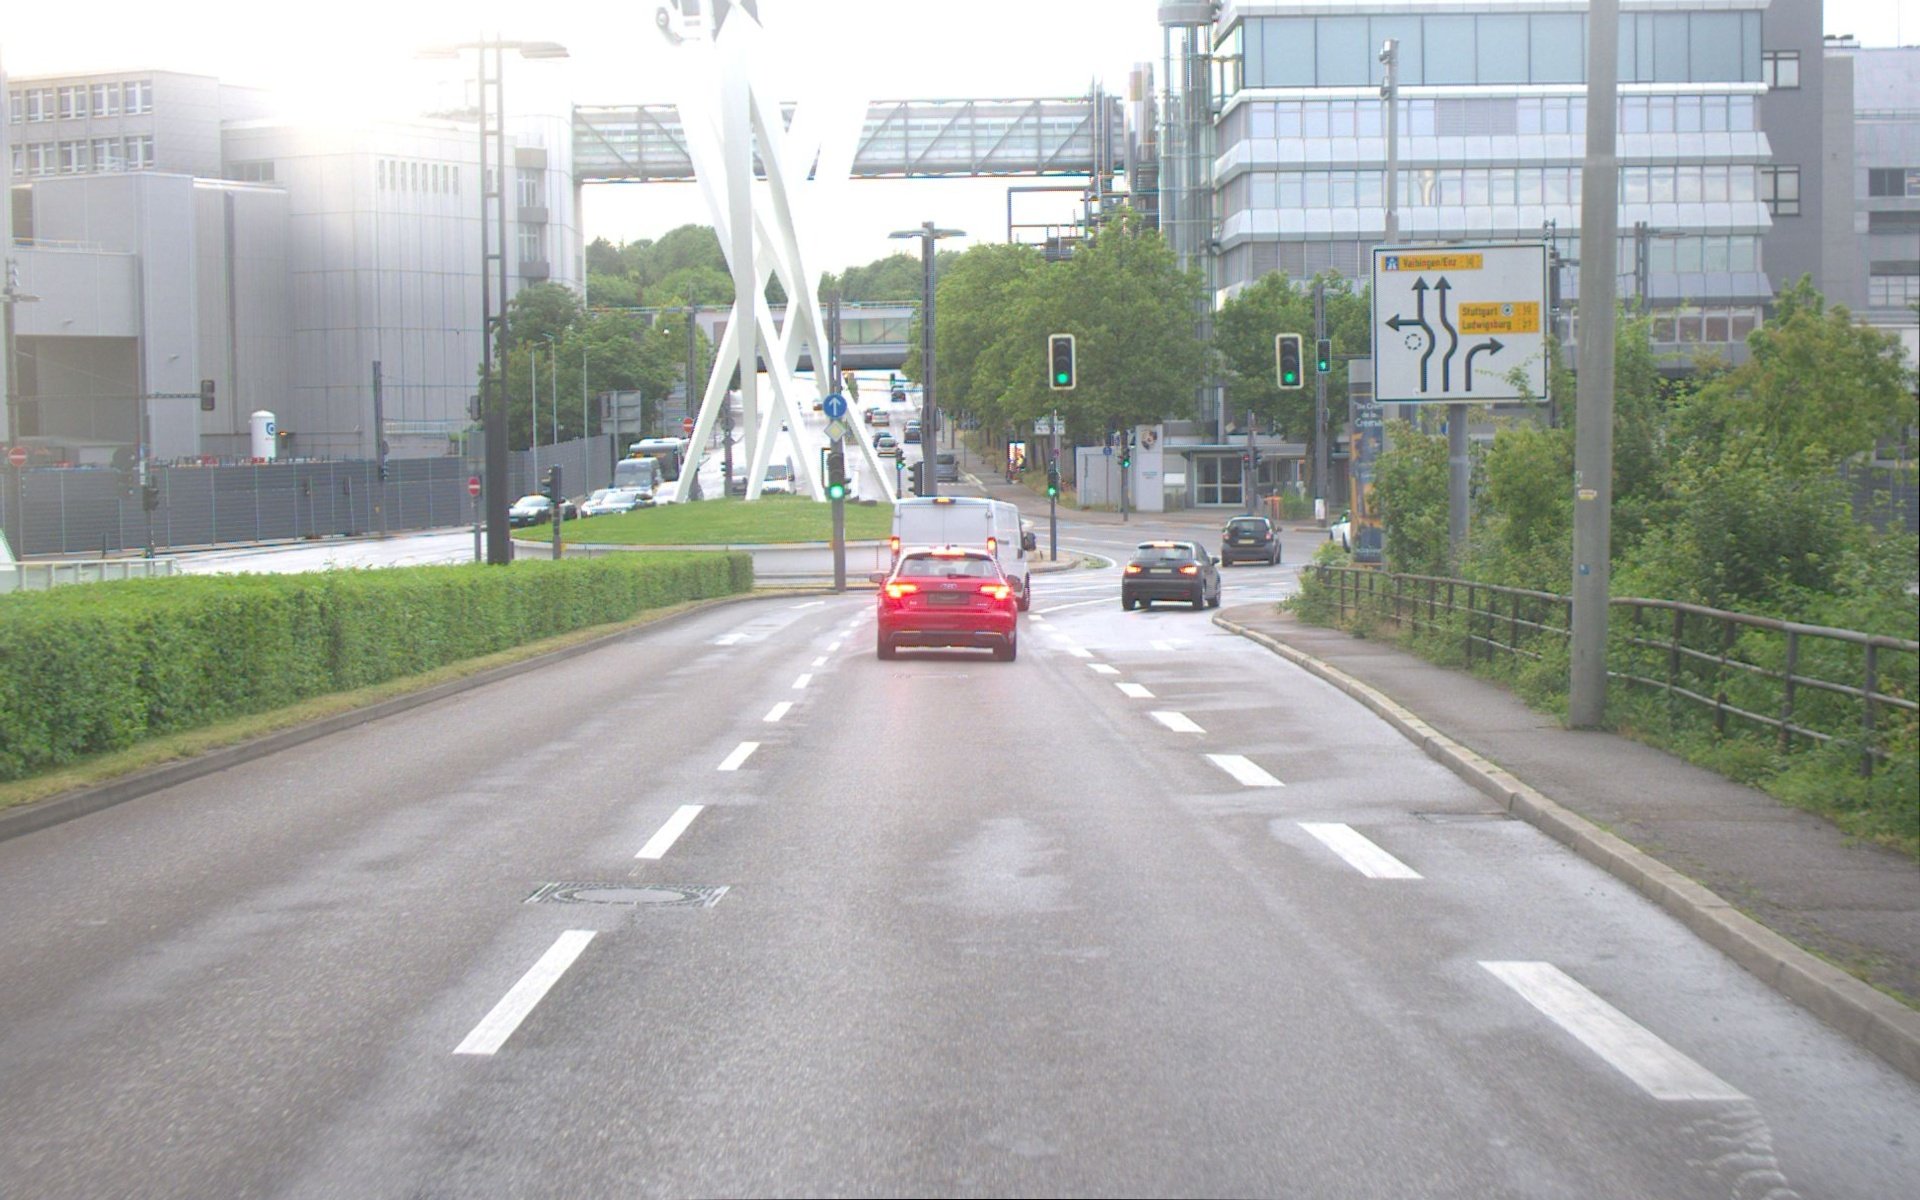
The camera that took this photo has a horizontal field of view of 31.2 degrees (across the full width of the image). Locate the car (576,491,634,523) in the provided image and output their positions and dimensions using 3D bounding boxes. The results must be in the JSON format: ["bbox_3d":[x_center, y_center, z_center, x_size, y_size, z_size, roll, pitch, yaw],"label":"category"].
[{"bbox_3d":[-15.143,-3.972,146.841,1.845,1.333,4.000,0,2,3],"label":"car"}]

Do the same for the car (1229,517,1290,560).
[{"bbox_3d":[9.174,-1.884,105.396,1.557,1.284,3.414,0,1,0],"label":"car"}]

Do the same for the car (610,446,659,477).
[{"bbox_3d":[-15.801,-6.707,167.250,1.833,1.467,4.514,0,2,2],"label":"car"}]

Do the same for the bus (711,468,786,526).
[{"bbox_3d":[-11.930,-5.874,194.818,2.669,3.189,12.669,0,2,4],"label":"bus"}]

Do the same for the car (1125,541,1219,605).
[{"bbox_3d":[4.422,-0.579,71.377,1.611,1.286,3.565,0,1,9],"label":"car"}]

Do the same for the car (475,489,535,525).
[{"bbox_3d":[-19.440,-3.980,146.982,1.833,1.467,4.514,0,2,2],"label":"car"}]

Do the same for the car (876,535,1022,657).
[{"bbox_3d":[-0.147,-0.083,43.655,1.772,1.459,3.733,0,1,0],"label":"car"}]

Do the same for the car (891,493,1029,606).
[{"bbox_3d":[0.054,-0.982,66.745,2.233,2.100,4.954,0,1,5],"label":"car"}]

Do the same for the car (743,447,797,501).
[{"bbox_3d":[-8.778,-5.834,159.192,1.993,2.438,5.427,-1,2,1],"label":"car"}]

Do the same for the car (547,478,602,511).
[{"bbox_3d":[-17.229,-4.722,153.731,1.833,1.467,4.514,0,2,2],"label":"car"}]
